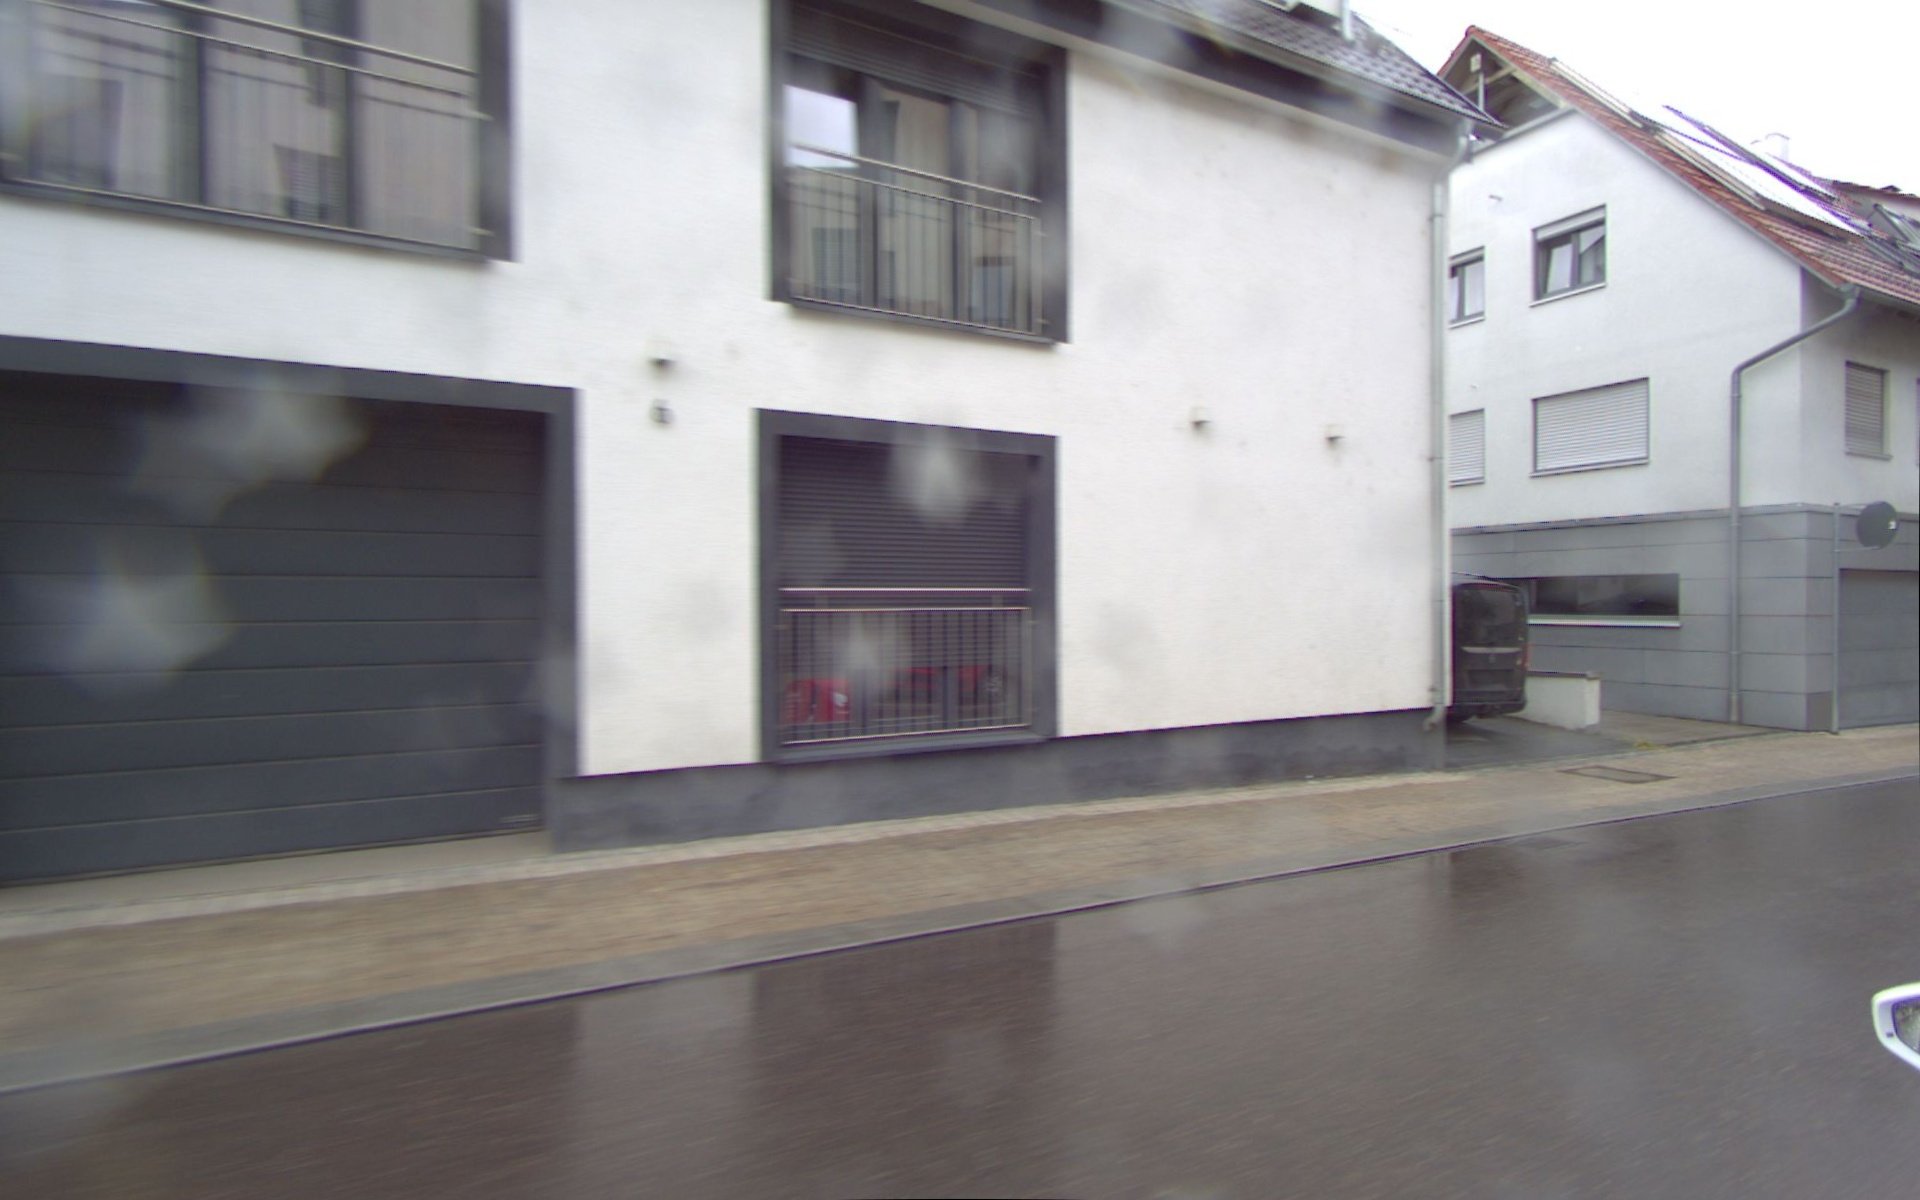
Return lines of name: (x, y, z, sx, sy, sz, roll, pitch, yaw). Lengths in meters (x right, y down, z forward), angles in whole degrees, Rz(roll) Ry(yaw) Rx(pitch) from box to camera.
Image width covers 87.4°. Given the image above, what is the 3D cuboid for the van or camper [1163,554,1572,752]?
van or camper: (5.228, 0.524, 13.792, 1.975, 1.959, 5.003, 2, 4, -28)
